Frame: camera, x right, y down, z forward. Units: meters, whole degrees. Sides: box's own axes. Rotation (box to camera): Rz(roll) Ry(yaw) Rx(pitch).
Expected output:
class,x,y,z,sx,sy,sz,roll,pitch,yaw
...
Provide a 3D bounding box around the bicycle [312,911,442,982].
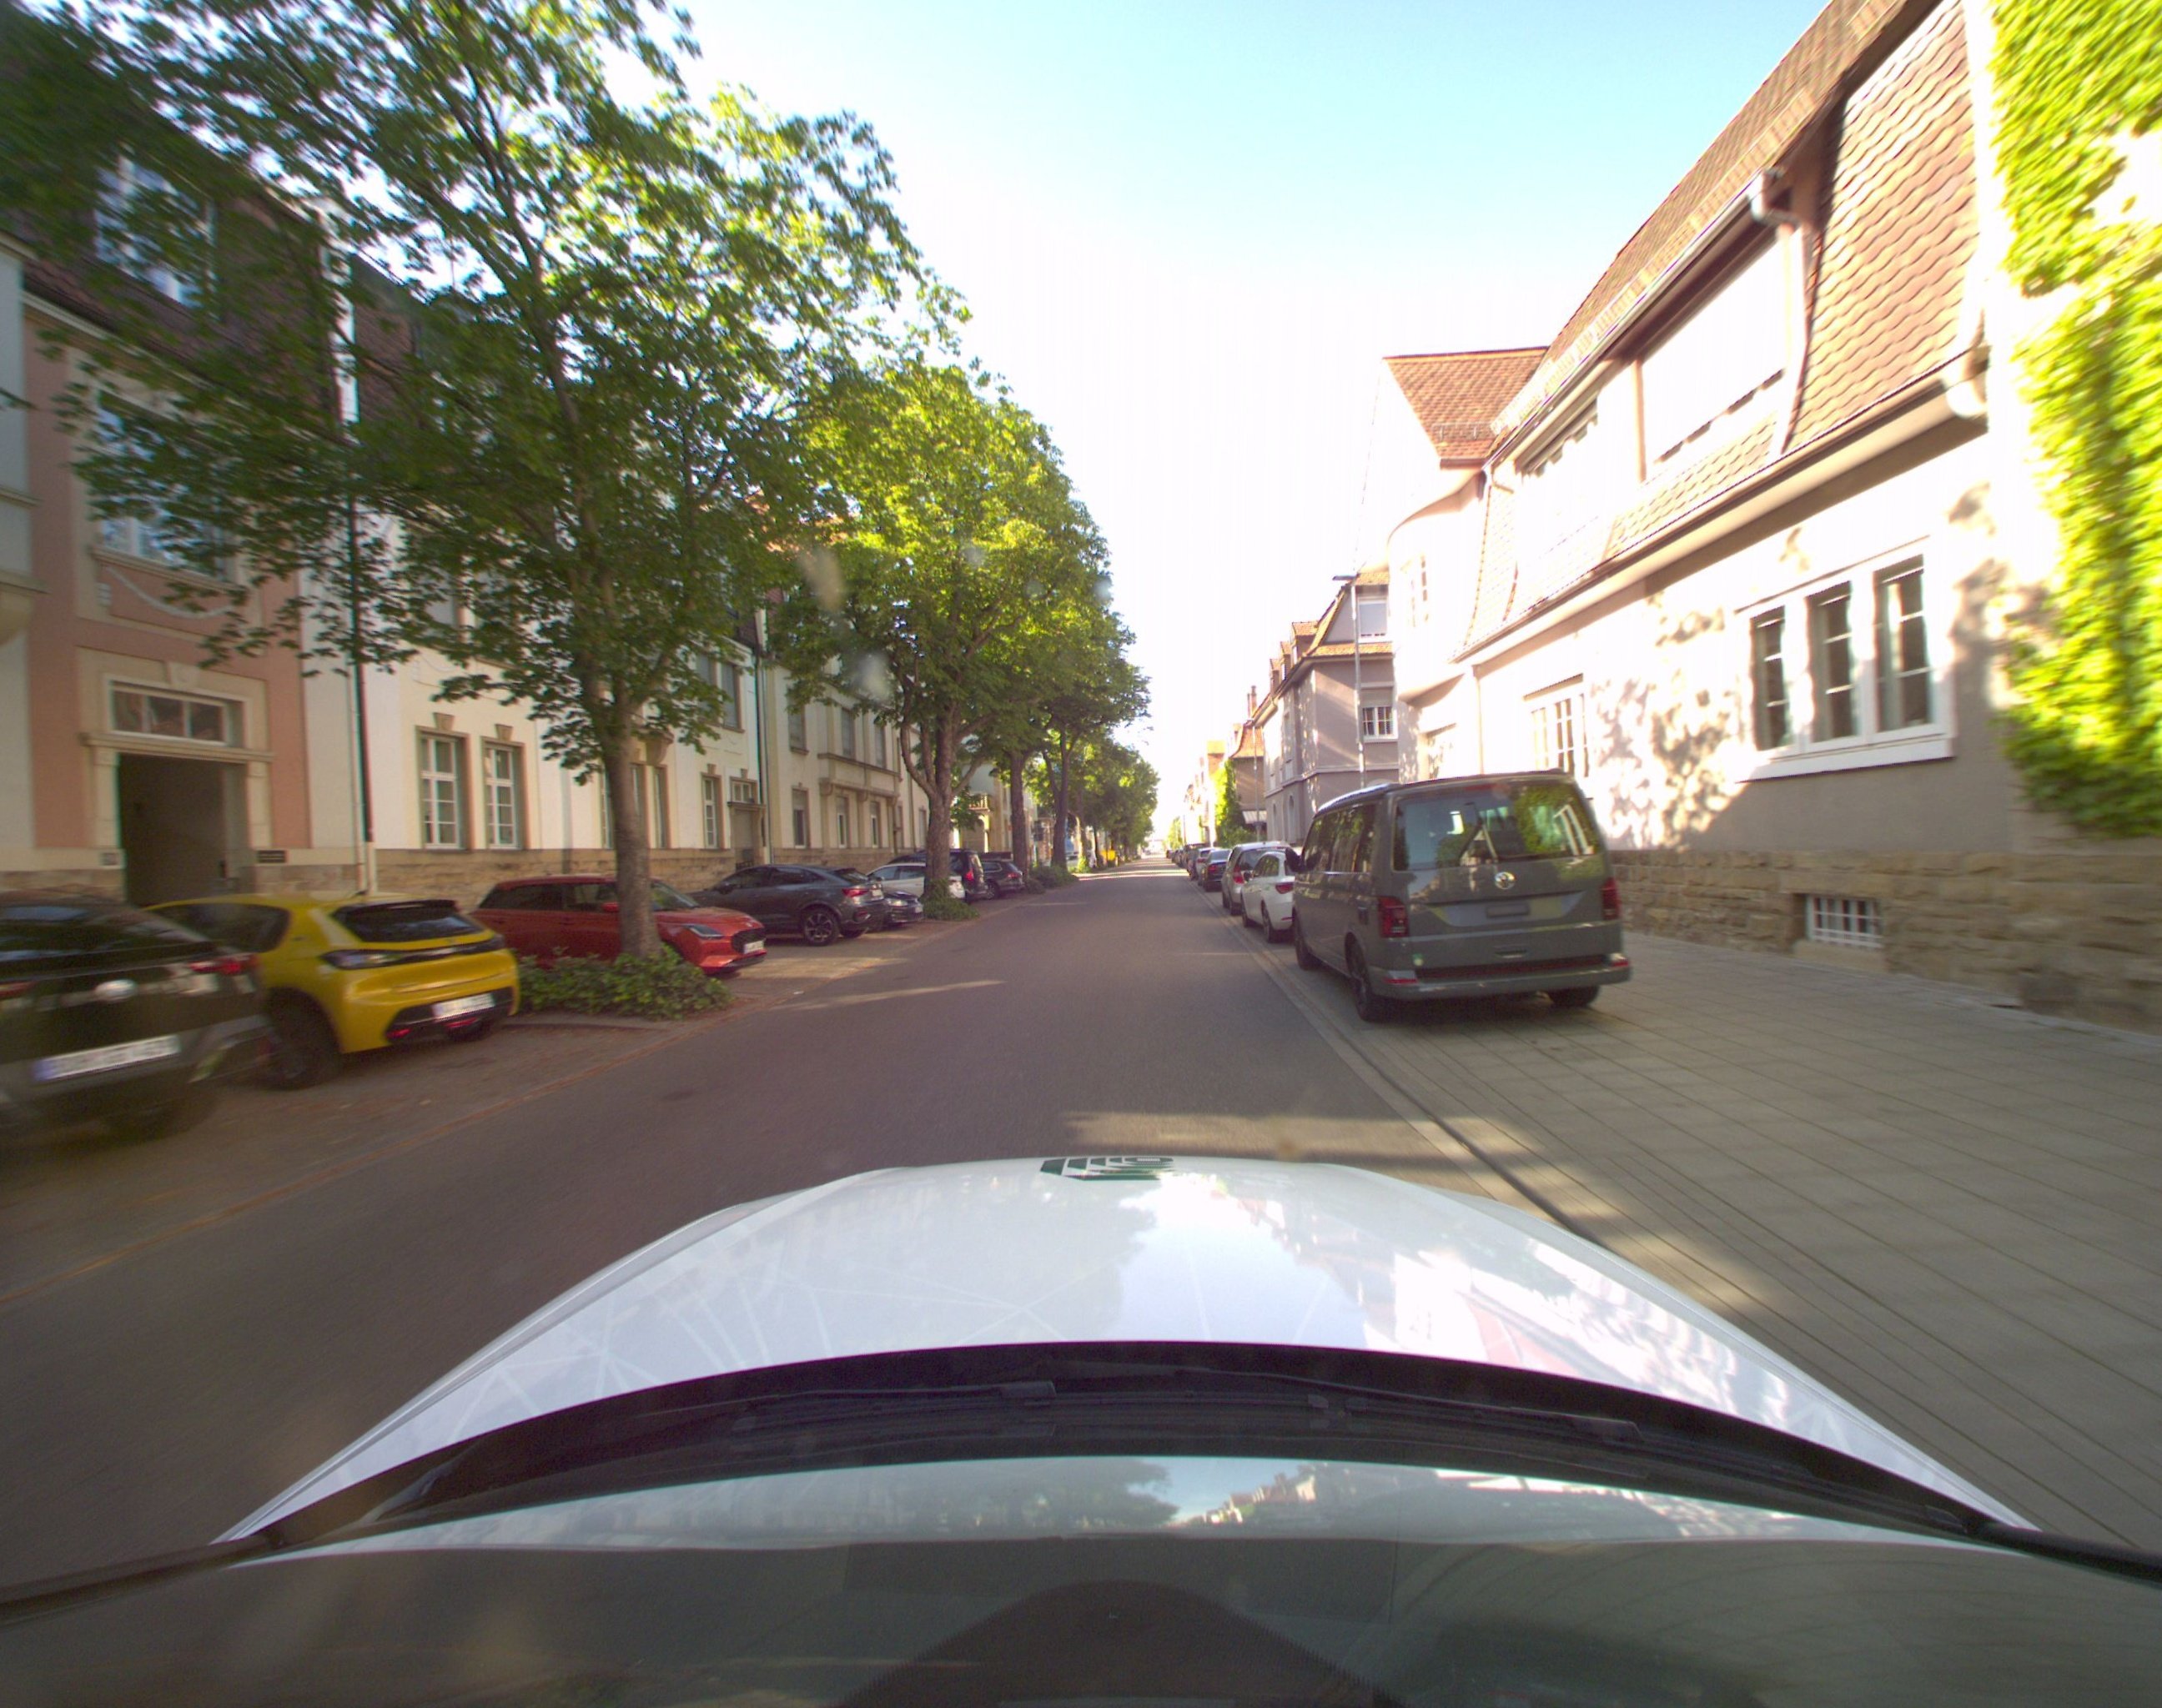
class,x,y,z,sx,sy,sz,roll,pitch,yaw
bicycle,-10.782,1.392,12.540,0.623,0.932,1.498,-1,0,4

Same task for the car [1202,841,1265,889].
class,x,y,z,sx,sy,sz,roll,pitch,yaw
car,5.515,0.359,30.007,1.845,1.493,4.616,-5,0,6

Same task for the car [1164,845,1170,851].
class,x,y,z,sx,sy,sz,roll,pitch,yaw
car,25.545,-1.867,241.642,1.762,1.631,3.873,-3,0,6

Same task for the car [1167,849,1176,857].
class,x,y,z,sx,sy,sz,roll,pitch,yaw
car,19.816,-0.169,178.635,1.762,1.631,3.873,-3,0,6

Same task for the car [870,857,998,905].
class,x,y,z,sx,sy,sz,roll,pitch,yaw
car,-5.019,0.900,28.222,3.963,1.437,1.830,-3,0,3

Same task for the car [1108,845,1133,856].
class,x,y,z,sx,sy,sz,roll,pitch,yaw
car,6.572,-0.603,136.290,3.984,1.841,2.004,-1,1,7

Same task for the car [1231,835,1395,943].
class,x,y,z,sx,sy,sz,roll,pitch,yaw
car,3.753,0.494,13.980,1.672,1.457,4.442,-4,0,3

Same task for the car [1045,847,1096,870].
class,x,y,z,sx,sy,sz,roll,pitch,yaw
car,-0.789,0.352,65.302,3.972,1.761,1.798,-1,0,1

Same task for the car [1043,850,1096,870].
class,x,y,z,sx,sy,sz,roll,pitch,yaw
car,-0.888,0.434,63.049,3.972,1.464,1.798,-1,-1,1

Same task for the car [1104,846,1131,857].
class,x,y,z,sx,sy,sz,roll,pitch,yaw
car,5.763,-0.393,127.560,3.984,1.734,1.898,-1,1,7

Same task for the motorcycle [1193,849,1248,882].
class,x,y,z,sx,sy,sz,roll,pitch,yaw
motorcycle,5.865,0.471,34.374,2.184,1.339,0.922,-1,1,3

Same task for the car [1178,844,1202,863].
class,x,y,z,sx,sy,sz,roll,pitch,yaw
car,9.046,-0.051,67.670,1.682,1.398,3.811,-6,0,5

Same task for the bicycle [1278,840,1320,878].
class,x,y,z,sx,sy,sz,roll,pitch,yaw
bicycle,8.310,0.174,31.090,1.077,1.337,2.253,-4,0,4

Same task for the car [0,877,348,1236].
class,x,y,z,sx,sy,sz,roll,pitch,yaw
car,-6.786,0.997,4.478,3.966,1.566,1.867,-2,0,6

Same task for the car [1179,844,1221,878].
class,x,y,z,sx,sy,sz,roll,pitch,yaw
car,6.107,0.318,42.126,1.692,1.539,4.159,-5,0,4

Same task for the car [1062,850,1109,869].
class,x,y,z,sx,sy,sz,roll,pitch,yaw
car,0.456,0.494,73.767,3.965,1.469,1.867,-3,1,7

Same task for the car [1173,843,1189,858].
class,x,y,z,sx,sy,sz,roll,pitch,yaw
car,11.733,-0.382,95.882,1.762,1.631,3.873,-3,0,6

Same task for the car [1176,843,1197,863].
class,x,y,z,sx,sy,sz,roll,pitch,yaw
car,9.499,-0.124,73.463,1.780,1.618,3.873,-3,0,6

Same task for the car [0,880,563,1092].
class,x,y,z,sx,sy,sz,roll,pitch,yaw
car,-6.934,1.041,7.019,3.770,1.462,1.867,-2,0,6

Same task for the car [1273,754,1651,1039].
class,x,y,z,sx,sy,sz,roll,pitch,yaw
car,3.295,0.292,8.256,1.856,1.916,4.790,-5,0,6

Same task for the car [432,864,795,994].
class,x,y,z,sx,sy,sz,roll,pitch,yaw
car,-6.268,0.976,11.198,3.968,1.514,1.750,-2,-1,5

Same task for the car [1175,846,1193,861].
class,x,y,z,sx,sy,sz,roll,pitch,yaw
car,10.716,-0.068,84.594,1.762,1.455,3.873,-3,0,6

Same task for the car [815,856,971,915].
class,x,y,z,sx,sy,sz,roll,pitch,yaw
car,-5.306,0.883,23.377,3.973,1.447,1.742,-2,0,1

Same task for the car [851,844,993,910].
class,x,y,z,sx,sy,sz,roll,pitch,yaw
car,-4.955,0.706,25.762,3.962,1.855,1.831,-2,0,4

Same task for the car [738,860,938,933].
class,x,y,z,sx,sy,sz,roll,pitch,yaw
car,-5.459,0.942,18.524,3.878,1.446,1.864,-2,0,10

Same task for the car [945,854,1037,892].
class,x,y,z,sx,sy,sz,roll,pitch,yaw
car,-3.920,0.812,35.812,3.657,1.487,1.643,-3,0,4

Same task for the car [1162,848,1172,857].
class,x,y,z,sx,sy,sz,roll,pitch,yaw
car,15.923,-0.276,150.246,1.762,1.631,3.873,-3,0,6

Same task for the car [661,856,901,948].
class,x,y,z,sx,sy,sz,roll,pitch,yaw
car,-5.810,0.905,16.089,3.969,1.592,1.861,-2,0,4

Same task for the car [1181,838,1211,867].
class,x,y,z,sx,sy,sz,roll,pitch,yaw
car,8.584,-0.137,61.142,1.895,1.870,4.680,-6,0,5

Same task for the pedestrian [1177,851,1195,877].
class,x,y,z,sx,sy,sz,roll,pitch,yaw
pedestrian,5.289,0.520,41.073,0.722,1.257,0.646,-4,0,-2

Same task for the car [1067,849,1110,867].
class,x,y,z,sx,sy,sz,roll,pitch,yaw
car,0.712,0.362,78.968,3.978,1.552,1.835,-3,0,-3

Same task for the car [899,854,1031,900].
class,x,y,z,sx,sy,sz,roll,pitch,yaw
car,-4.286,0.831,30.531,4.512,1.503,1.894,-2,0,3

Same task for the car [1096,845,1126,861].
class,x,y,z,sx,sy,sz,roll,pitch,yaw
car,4.209,-0.112,115.702,3.978,2.013,1.998,-3,0,-3

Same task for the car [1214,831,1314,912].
class,x,y,z,sx,sy,sz,roll,pitch,yaw
car,4.273,0.328,19.595,1.780,1.600,4.008,-6,1,6
